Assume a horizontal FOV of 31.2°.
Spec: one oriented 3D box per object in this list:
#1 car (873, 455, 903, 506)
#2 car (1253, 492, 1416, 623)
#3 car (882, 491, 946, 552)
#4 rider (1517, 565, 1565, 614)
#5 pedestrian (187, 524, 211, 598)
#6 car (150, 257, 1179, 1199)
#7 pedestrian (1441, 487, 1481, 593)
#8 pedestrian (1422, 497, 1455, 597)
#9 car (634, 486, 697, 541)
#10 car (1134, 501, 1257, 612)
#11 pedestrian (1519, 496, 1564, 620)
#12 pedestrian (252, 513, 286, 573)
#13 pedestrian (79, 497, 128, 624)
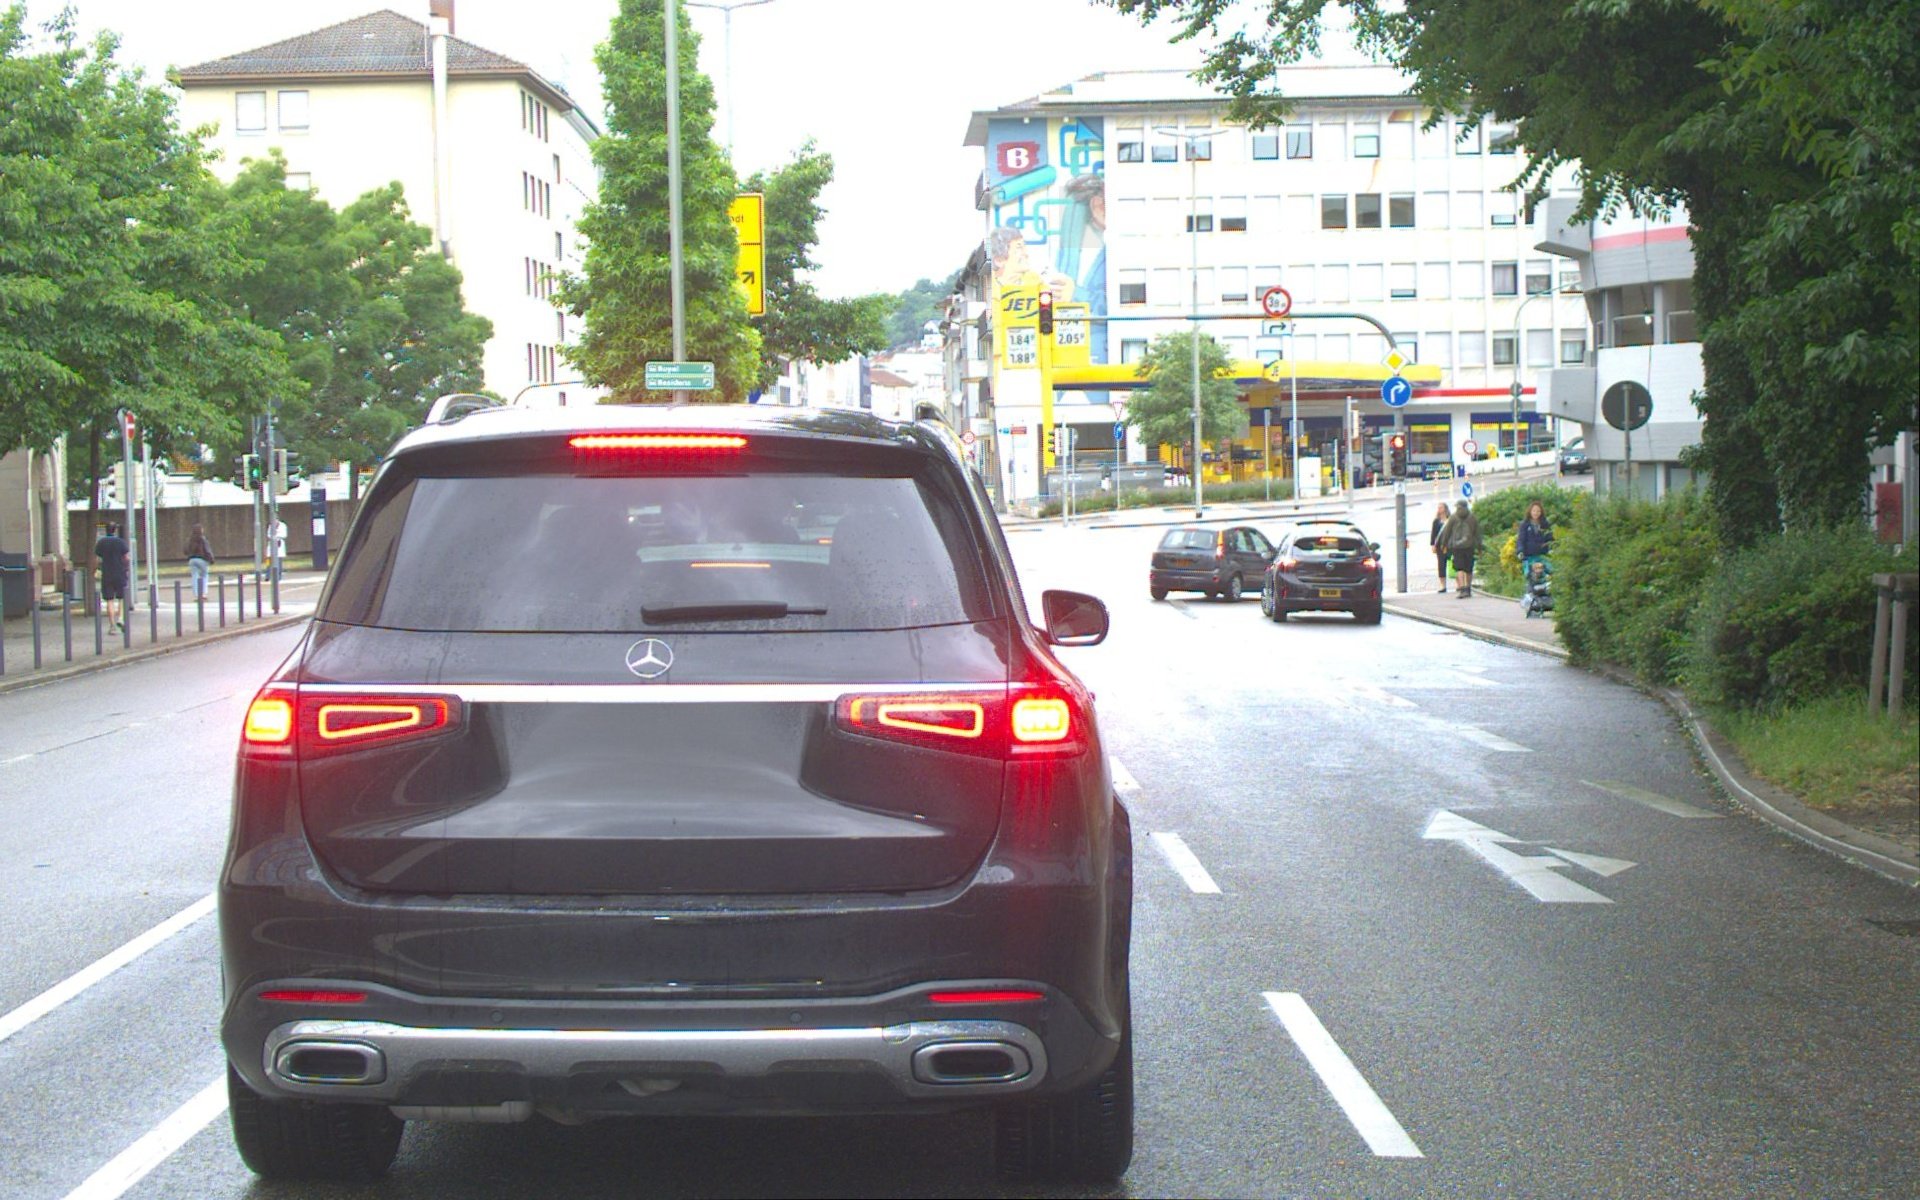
[{"bbox_3d":[-4.895,-8.093,232.546,1.993,2.003,4.008,1,24,-2],"label":"car"},{"bbox_3d":[5.929,-0.709,54.872,1.993,2.007,4.001,0,1,-2],"label":"car"},{"bbox_3d":[-1.585,-2.660,117.258,1.993,2.007,4.001,1,0,-3],"label":"car"},{"bbox_3d":[8.911,-0.167,52.748,0.694,0.737,0.632,1,0,7],"label":"rider"},{"bbox_3d":[-17.029,-0.873,76.936,0.399,1.639,0.567,1,0,-1],"label":"pedestrian"},{"bbox_3d":[-0.648,0.330,8.765,1.993,2.007,4.000,1,0,-2],"label":"car"},{"bbox_3d":[9.155,-1.095,62.809,0.620,1.929,0.610,1,0,0],"label":"pedestrian"},{"bbox_3d":[9.207,-1.015,66.152,0.519,1.904,0.556,1,0,-1],"label":"pedestrian"},{"bbox_3d":[-10.424,-3.048,122.070,1.993,1.868,5.142,1,0,-2],"label":"car"},{"bbox_3d":[4.395,-0.812,64.754,1.993,2.007,4.000,1,0,0],"label":"car"},{"bbox_3d":[9.041,-0.654,53.447,0.662,1.911,0.728,1,0,10],"label":"pedestrian"},{"bbox_3d":[-17.087,-1.402,85.018,0.711,1.457,0.598,1,0,-2],"label":"pedestrian"},{"bbox_3d":[-13.698,-0.631,54.978,0.587,2.007,0.749,1,0,-2],"label":"pedestrian"}]
